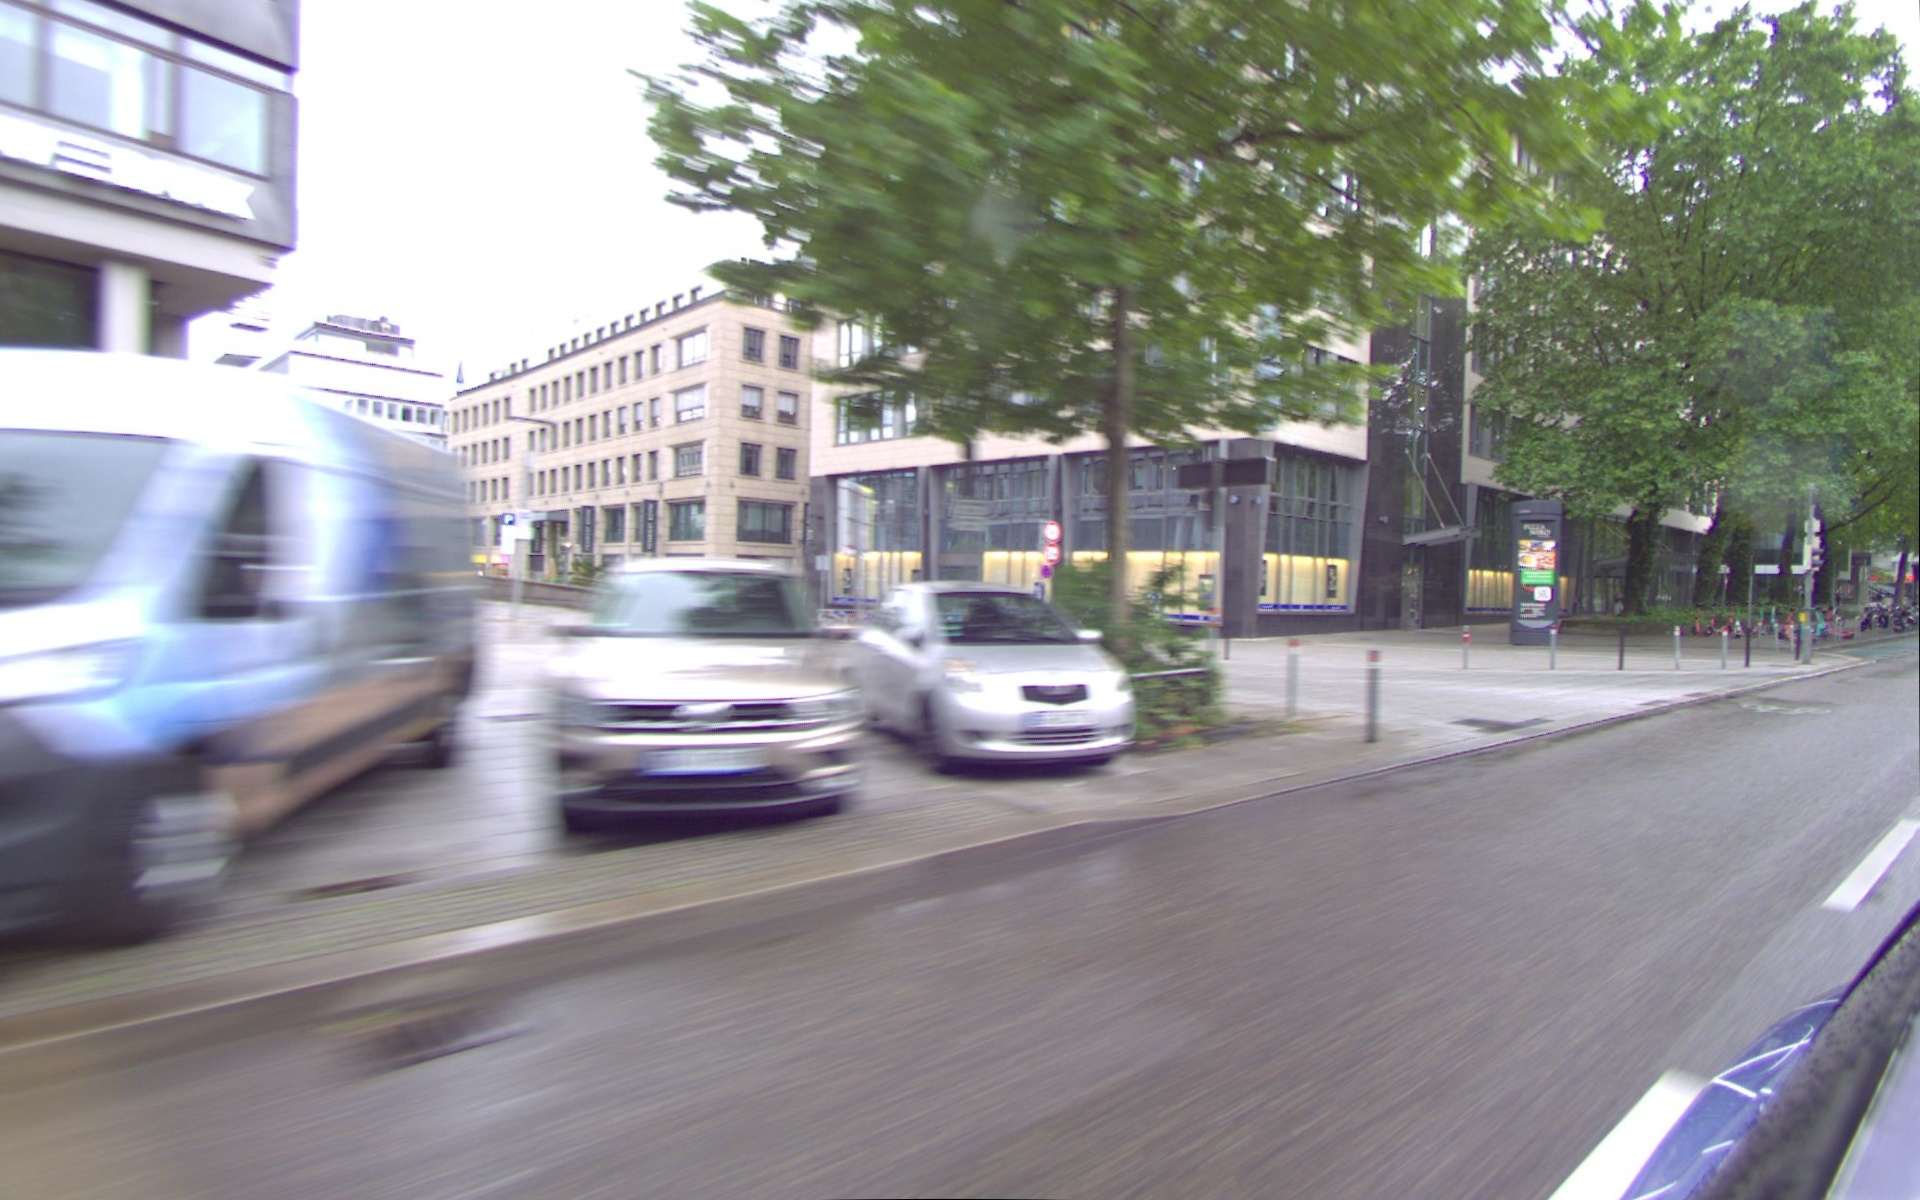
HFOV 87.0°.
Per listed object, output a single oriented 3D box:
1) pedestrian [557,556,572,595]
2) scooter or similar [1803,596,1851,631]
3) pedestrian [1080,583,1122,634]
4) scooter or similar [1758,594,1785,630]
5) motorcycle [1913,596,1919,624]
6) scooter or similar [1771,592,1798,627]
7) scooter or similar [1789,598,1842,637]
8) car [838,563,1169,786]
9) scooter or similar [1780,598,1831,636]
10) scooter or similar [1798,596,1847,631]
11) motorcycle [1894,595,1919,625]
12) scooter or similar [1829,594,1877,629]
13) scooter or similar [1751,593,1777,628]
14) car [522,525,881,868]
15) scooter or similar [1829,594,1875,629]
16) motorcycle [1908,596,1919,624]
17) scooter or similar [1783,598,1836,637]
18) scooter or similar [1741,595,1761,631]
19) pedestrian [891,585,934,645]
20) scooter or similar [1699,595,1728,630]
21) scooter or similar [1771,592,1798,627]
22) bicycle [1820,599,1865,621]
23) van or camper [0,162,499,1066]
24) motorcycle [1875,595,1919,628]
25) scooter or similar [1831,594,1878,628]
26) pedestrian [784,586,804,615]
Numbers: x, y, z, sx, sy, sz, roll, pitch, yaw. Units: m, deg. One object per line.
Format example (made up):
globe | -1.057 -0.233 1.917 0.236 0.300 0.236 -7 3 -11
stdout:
pedestrian | -21.229 -1.311 54.286 0.562 2.039 0.705 1 0 -40
scooter or similar | 33.108 0.499 38.662 0.480 1.251 1.293 2 1 -37
pedestrian | 5.249 0.304 37.763 1.273 1.873 0.905 0 1 45
scooter or similar | 29.021 0.434 36.193 1.270 1.275 0.489 2 1 -40
motorcycle | 51.362 0.563 52.922 2.043 1.446 0.721 3 1 30
scooter or similar | 31.117 0.378 38.189 1.270 1.275 0.489 2 1 -40
scooter or similar | 30.197 0.604 35.718 0.479 1.275 1.296 2 1 -28
car | 0.158 0.502 9.122 1.679 1.566 3.668 0 1 -21
scooter or similar | 30.362 0.592 36.349 0.479 1.275 1.296 2 1 -28
scooter or similar | 32.550 0.513 38.189 0.480 1.251 1.293 2 1 -37
motorcycle | 45.700 0.501 47.942 1.945 1.391 0.721 3 1 30
scooter or similar | 35.454 0.447 40.195 0.527 1.294 1.294 2 1 -35
scooter or similar | 29.954 0.399 37.705 1.270 1.275 0.489 2 1 -40
car | -1.797 0.452 7.267 1.780 1.688 4.279 0 1 -14
scooter or similar | 34.986 0.460 39.704 1.288 1.294 0.529 3 1 40
motorcycle | 48.328 0.540 50.049 1.945 1.391 0.721 3 1 30
scooter or similar | 29.689 0.615 35.391 0.479 1.275 1.296 2 1 -28
scooter or similar | 28.124 0.448 35.967 0.487 1.212 1.275 1 1 41
pedestrian | -1.401 0.417 29.626 0.791 1.718 1.188 0 0 -30
scooter or similar | 27.557 0.437 37.023 0.483 1.212 1.286 0 1 19
scooter or similar | 31.117 0.378 38.189 1.270 1.275 0.489 2 1 -40
bicycle | 41.500 0.472 47.598 1.727 1.041 0.640 0 0 -11
van or camper | -4.366 -0.024 5.661 2.061 2.590 6.098 0 1 -13
motorcycle | 42.933 0.523 45.911 1.949 1.391 0.720 3 1 35
scooter or similar | 35.777 0.439 40.489 0.527 1.294 1.294 2 1 -35
pedestrian | -10.655 0.030 65.031 0.724 1.854 1.071 0 0 39
